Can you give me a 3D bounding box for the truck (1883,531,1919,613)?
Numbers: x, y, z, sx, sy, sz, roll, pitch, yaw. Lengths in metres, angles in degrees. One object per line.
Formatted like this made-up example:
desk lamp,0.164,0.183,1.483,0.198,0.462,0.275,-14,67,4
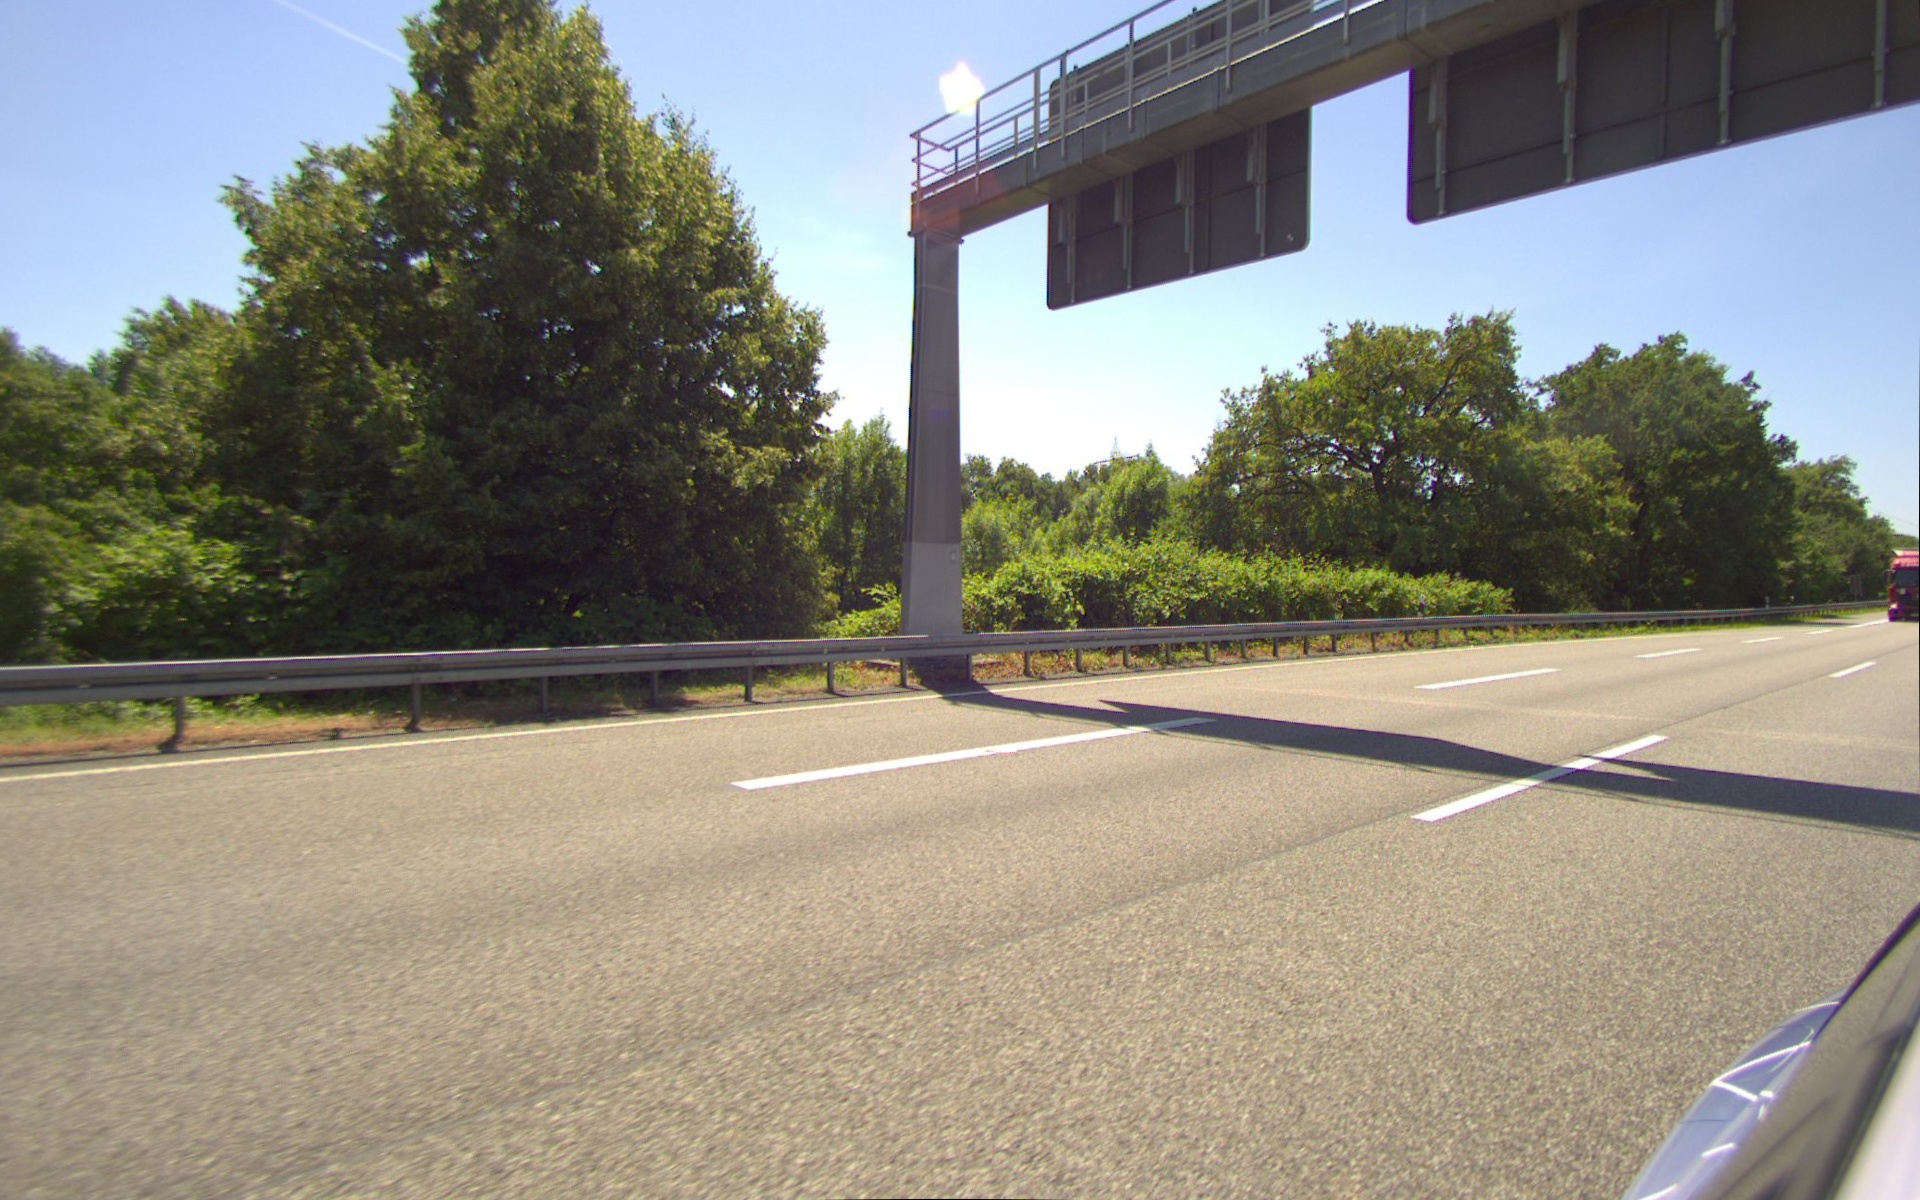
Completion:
truck,55.005,-1.535,57.144,8.353,4.431,3.331,0,1,-41
